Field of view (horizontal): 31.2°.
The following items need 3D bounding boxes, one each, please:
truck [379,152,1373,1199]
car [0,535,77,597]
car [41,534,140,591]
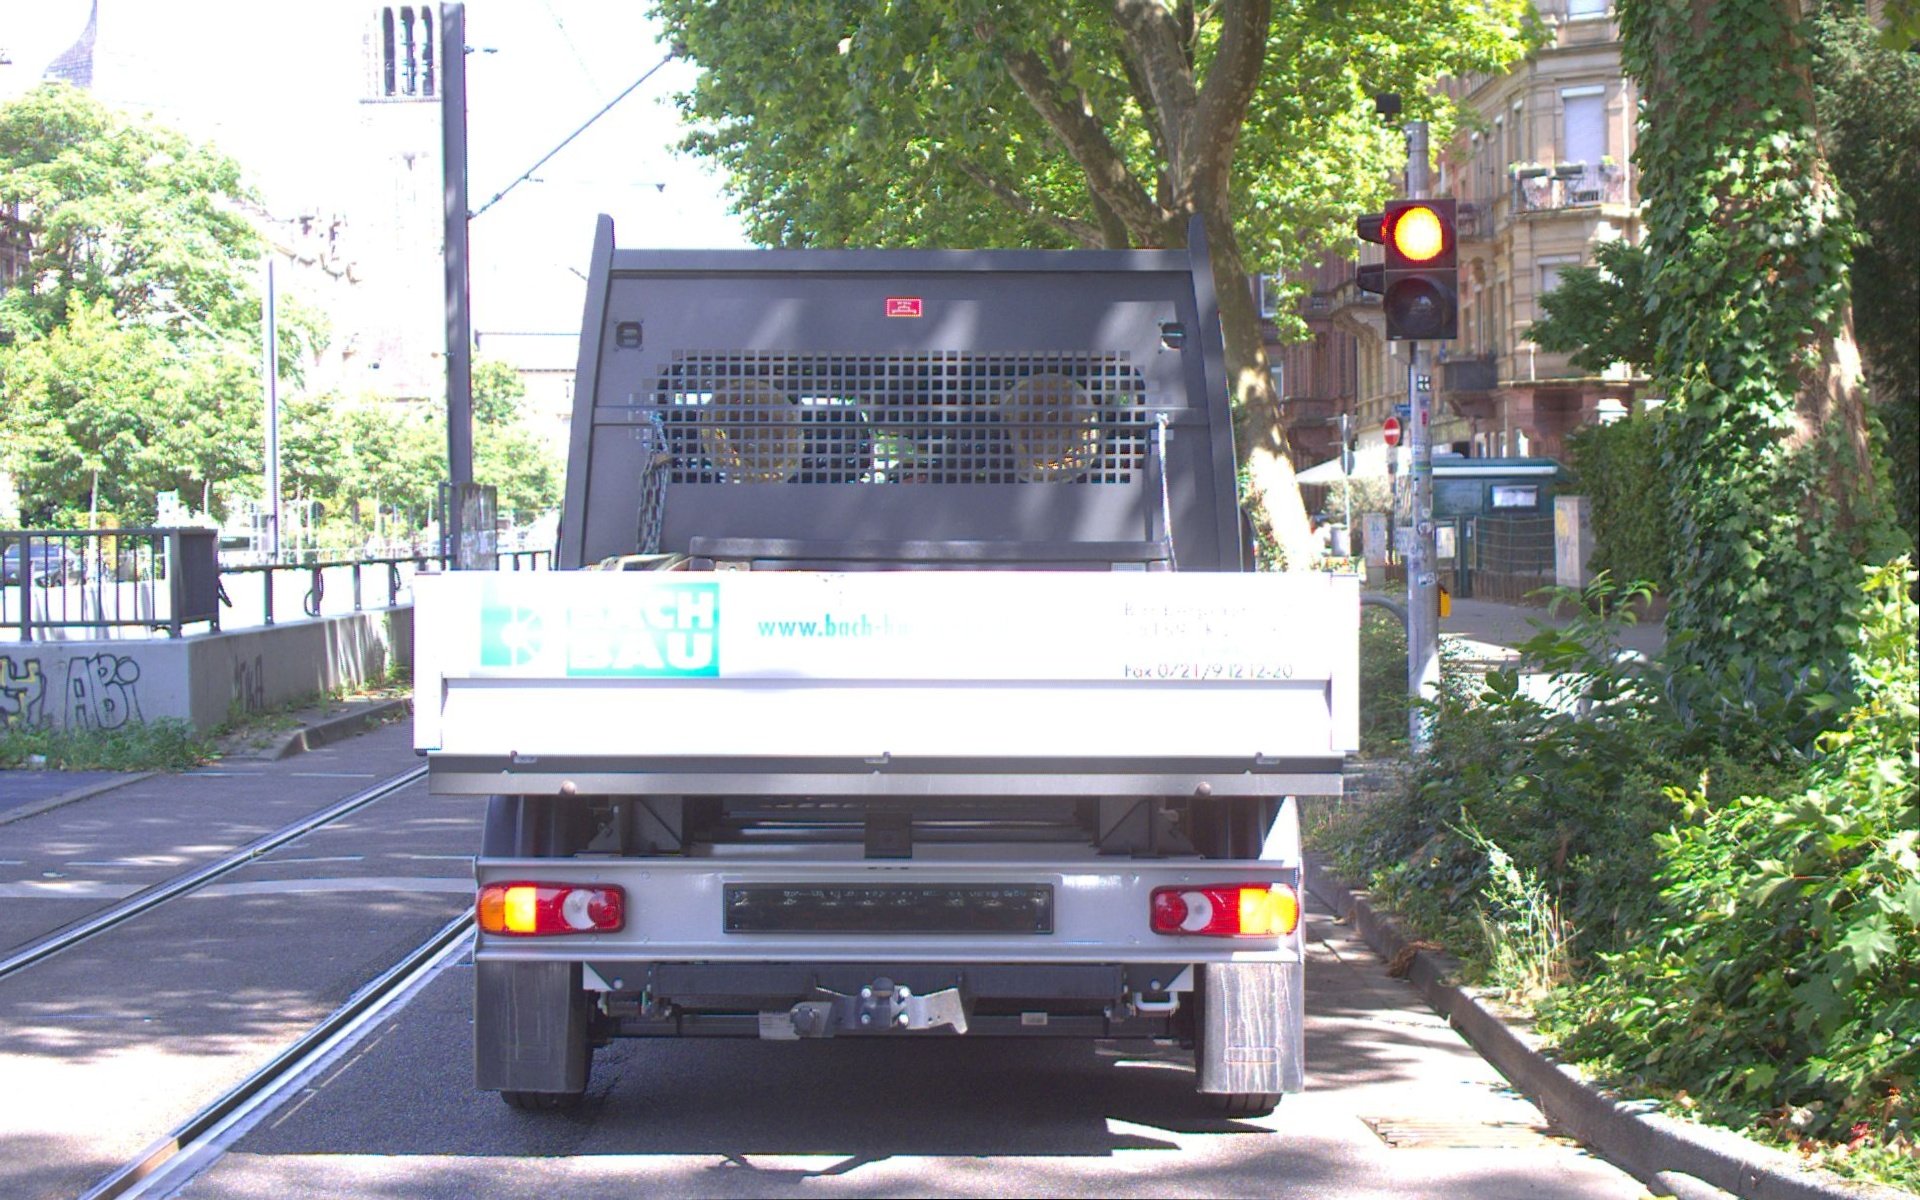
[{"bbox_3d":[-0.169,0.143,9.621,2.138,2.311,4.402,0,1,0],"label":"truck"},{"bbox_3d":[-23.534,-0.875,86.389,1.770,1.493,4.001,-1,1,-2],"label":"car"},{"bbox_3d":[-23.802,-1.045,94.225,1.770,1.493,4.001,-1,1,-2],"label":"car"}]
